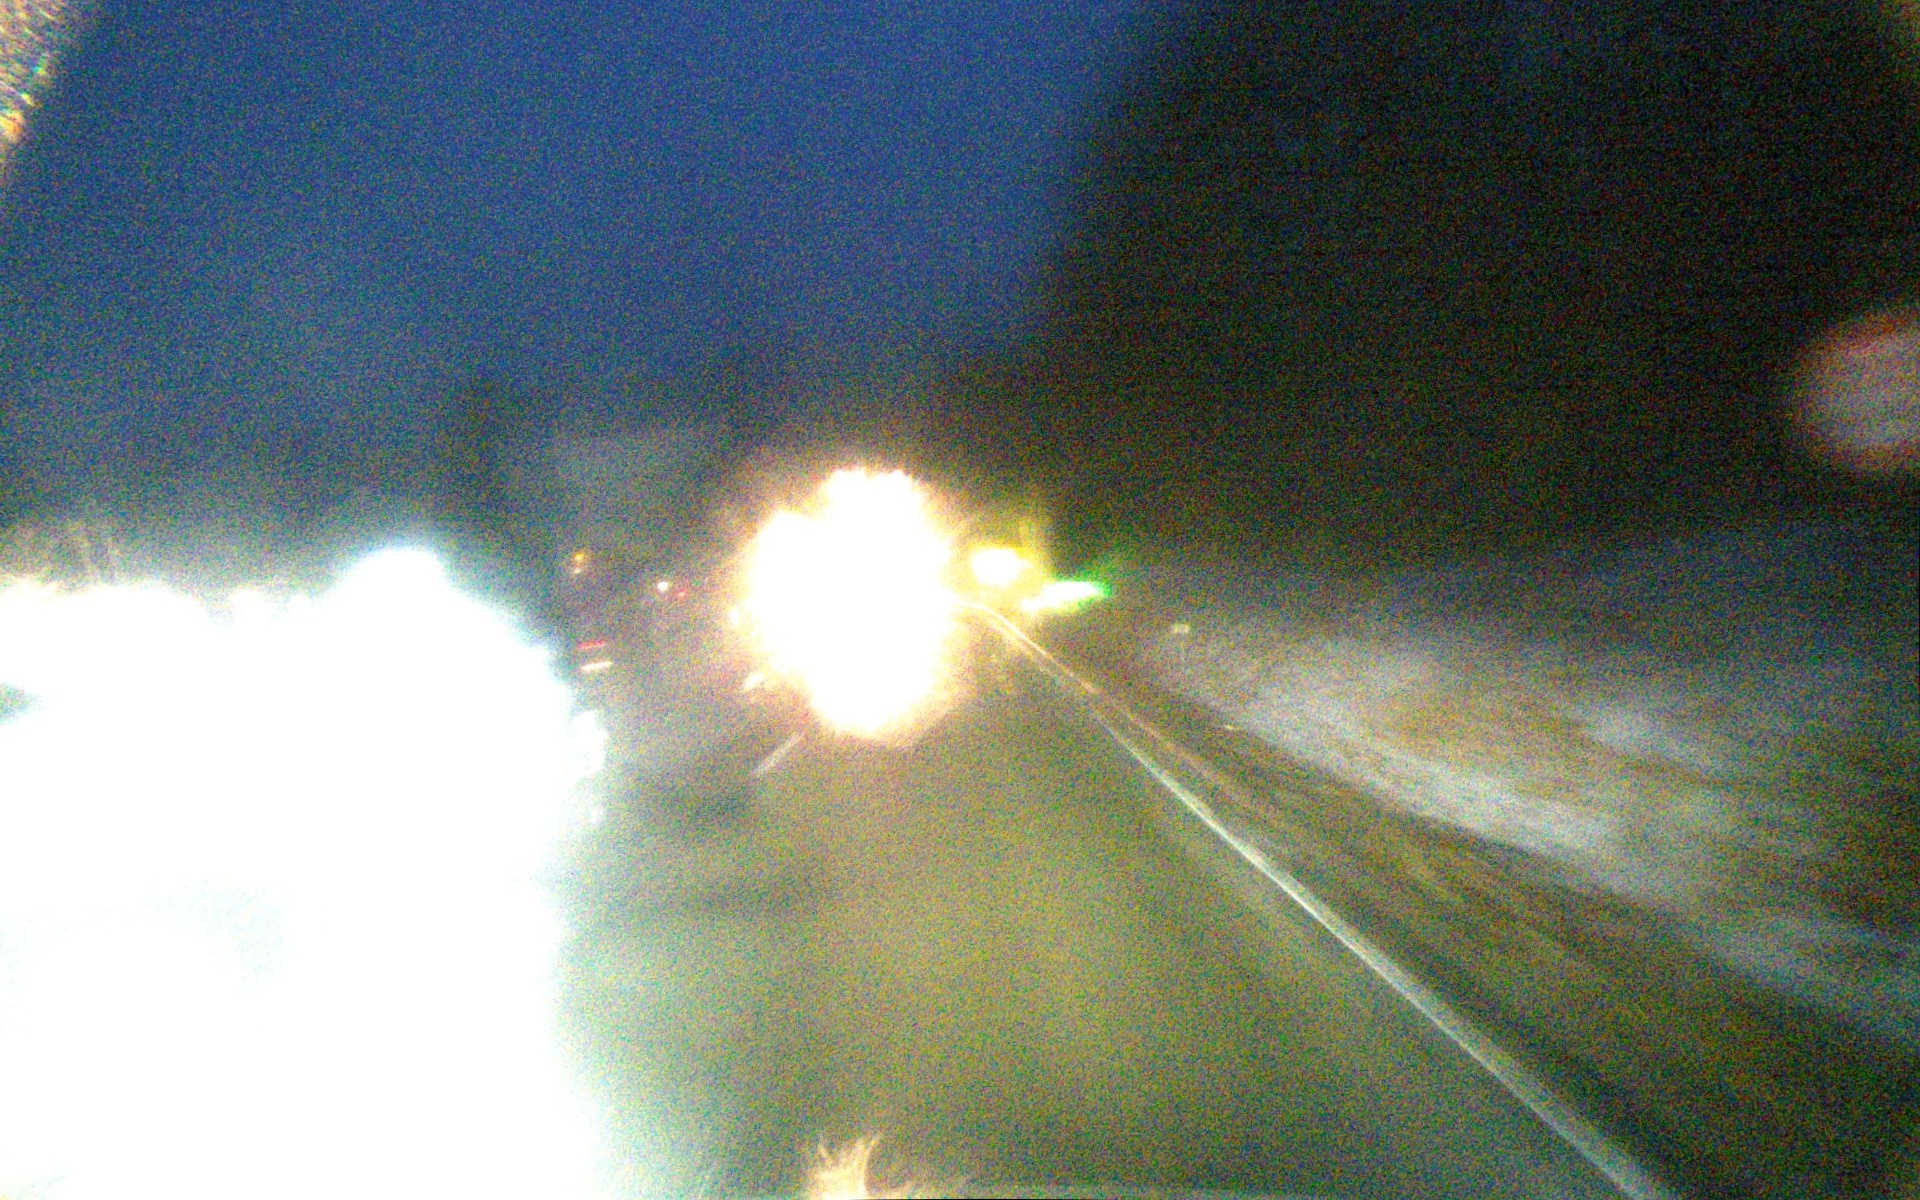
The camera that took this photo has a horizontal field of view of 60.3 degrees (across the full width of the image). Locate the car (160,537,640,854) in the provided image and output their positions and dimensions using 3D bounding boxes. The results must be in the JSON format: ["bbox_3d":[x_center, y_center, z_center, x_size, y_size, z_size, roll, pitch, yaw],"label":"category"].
[{"bbox_3d":[-3.474,0.508,11.222,1.744,1.696,4.471,1,0,0],"label":"car"}]

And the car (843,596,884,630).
[{"bbox_3d":[-7.223,0.986,124.598,2.697,2.308,6.259,-5,-1,-2],"label":"car"}]
